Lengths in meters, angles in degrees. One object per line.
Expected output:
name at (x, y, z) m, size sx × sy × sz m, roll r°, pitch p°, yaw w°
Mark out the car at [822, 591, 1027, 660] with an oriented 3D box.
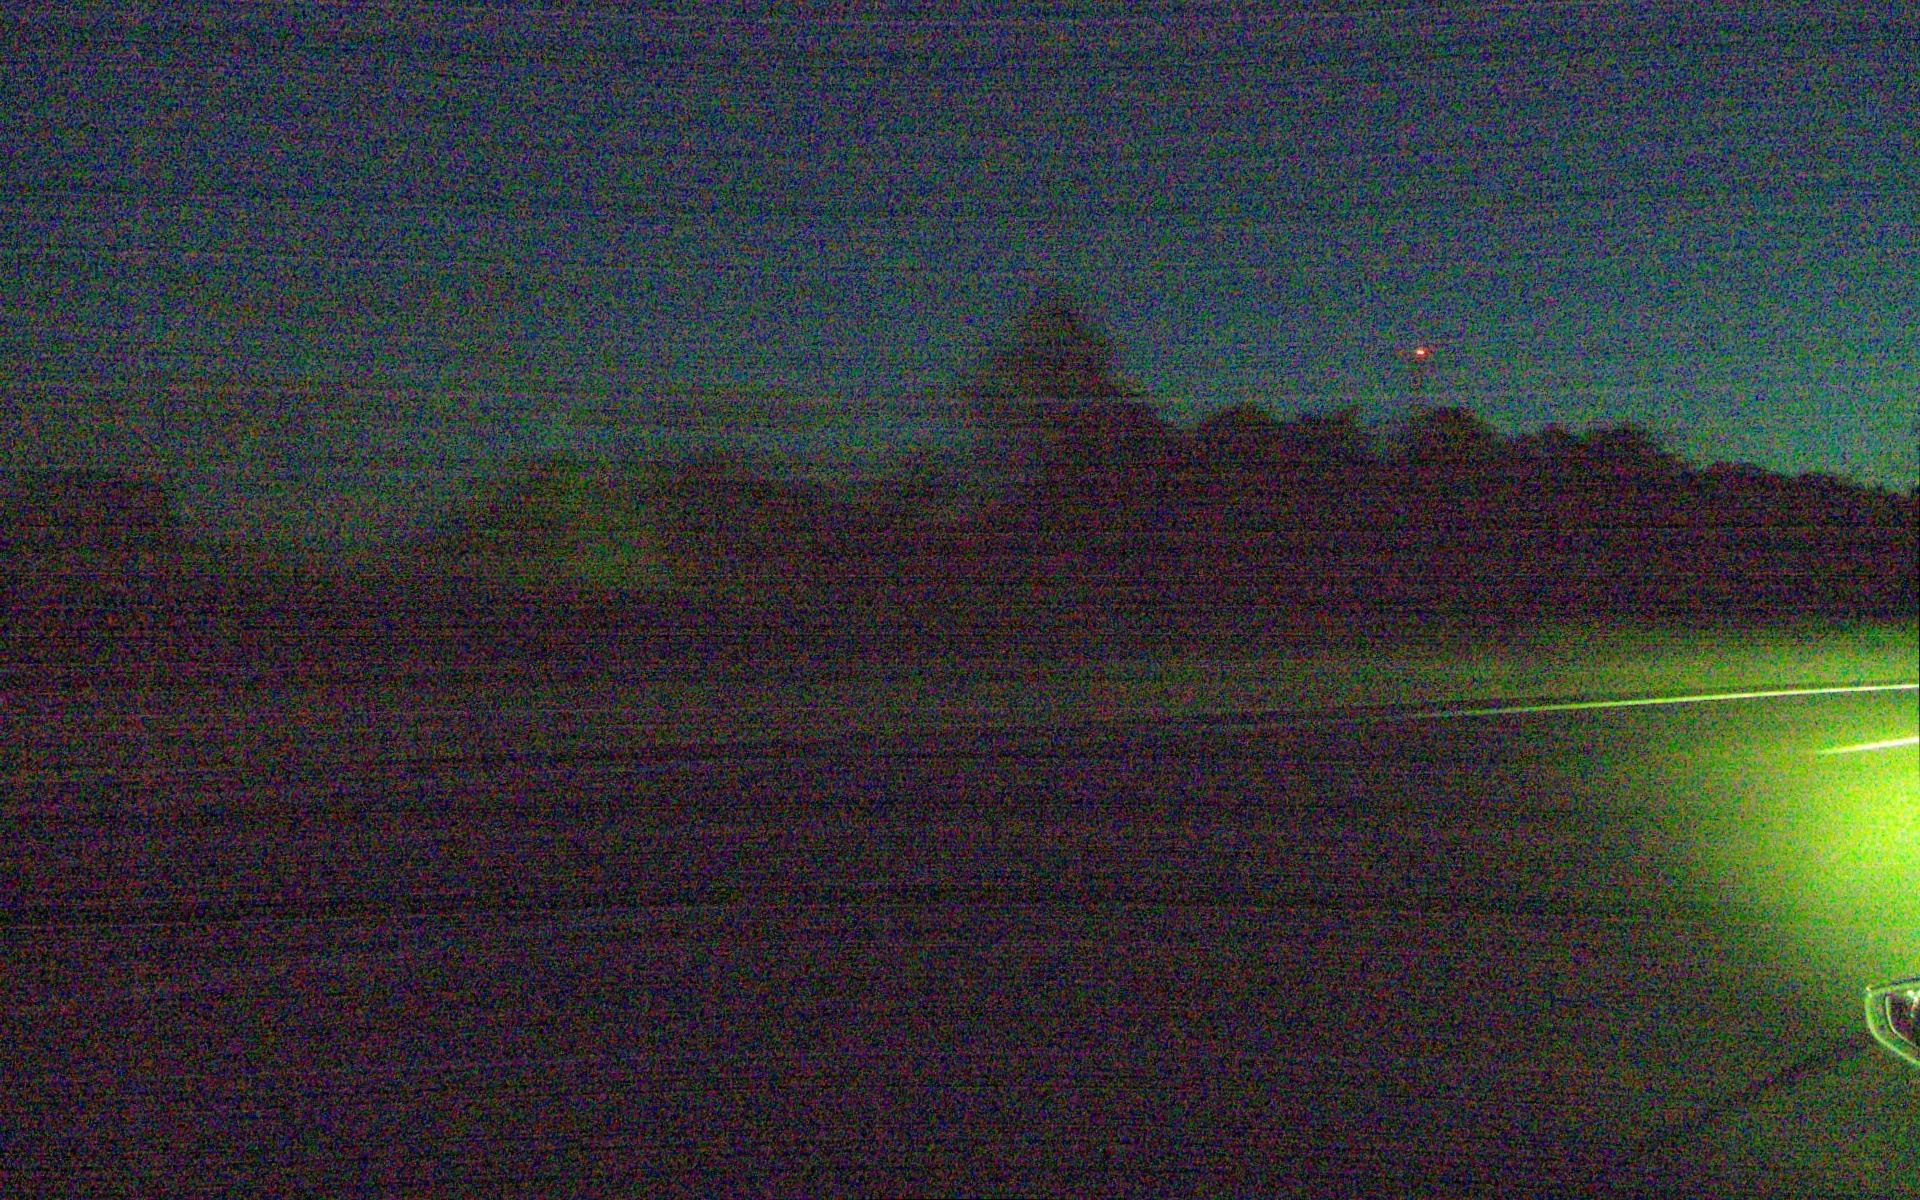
car at (-0.865, 0.640, 25.570) m, size 4.838 × 1.619 × 2.041 m, roll 2°, pitch 0°, yaw -30°
